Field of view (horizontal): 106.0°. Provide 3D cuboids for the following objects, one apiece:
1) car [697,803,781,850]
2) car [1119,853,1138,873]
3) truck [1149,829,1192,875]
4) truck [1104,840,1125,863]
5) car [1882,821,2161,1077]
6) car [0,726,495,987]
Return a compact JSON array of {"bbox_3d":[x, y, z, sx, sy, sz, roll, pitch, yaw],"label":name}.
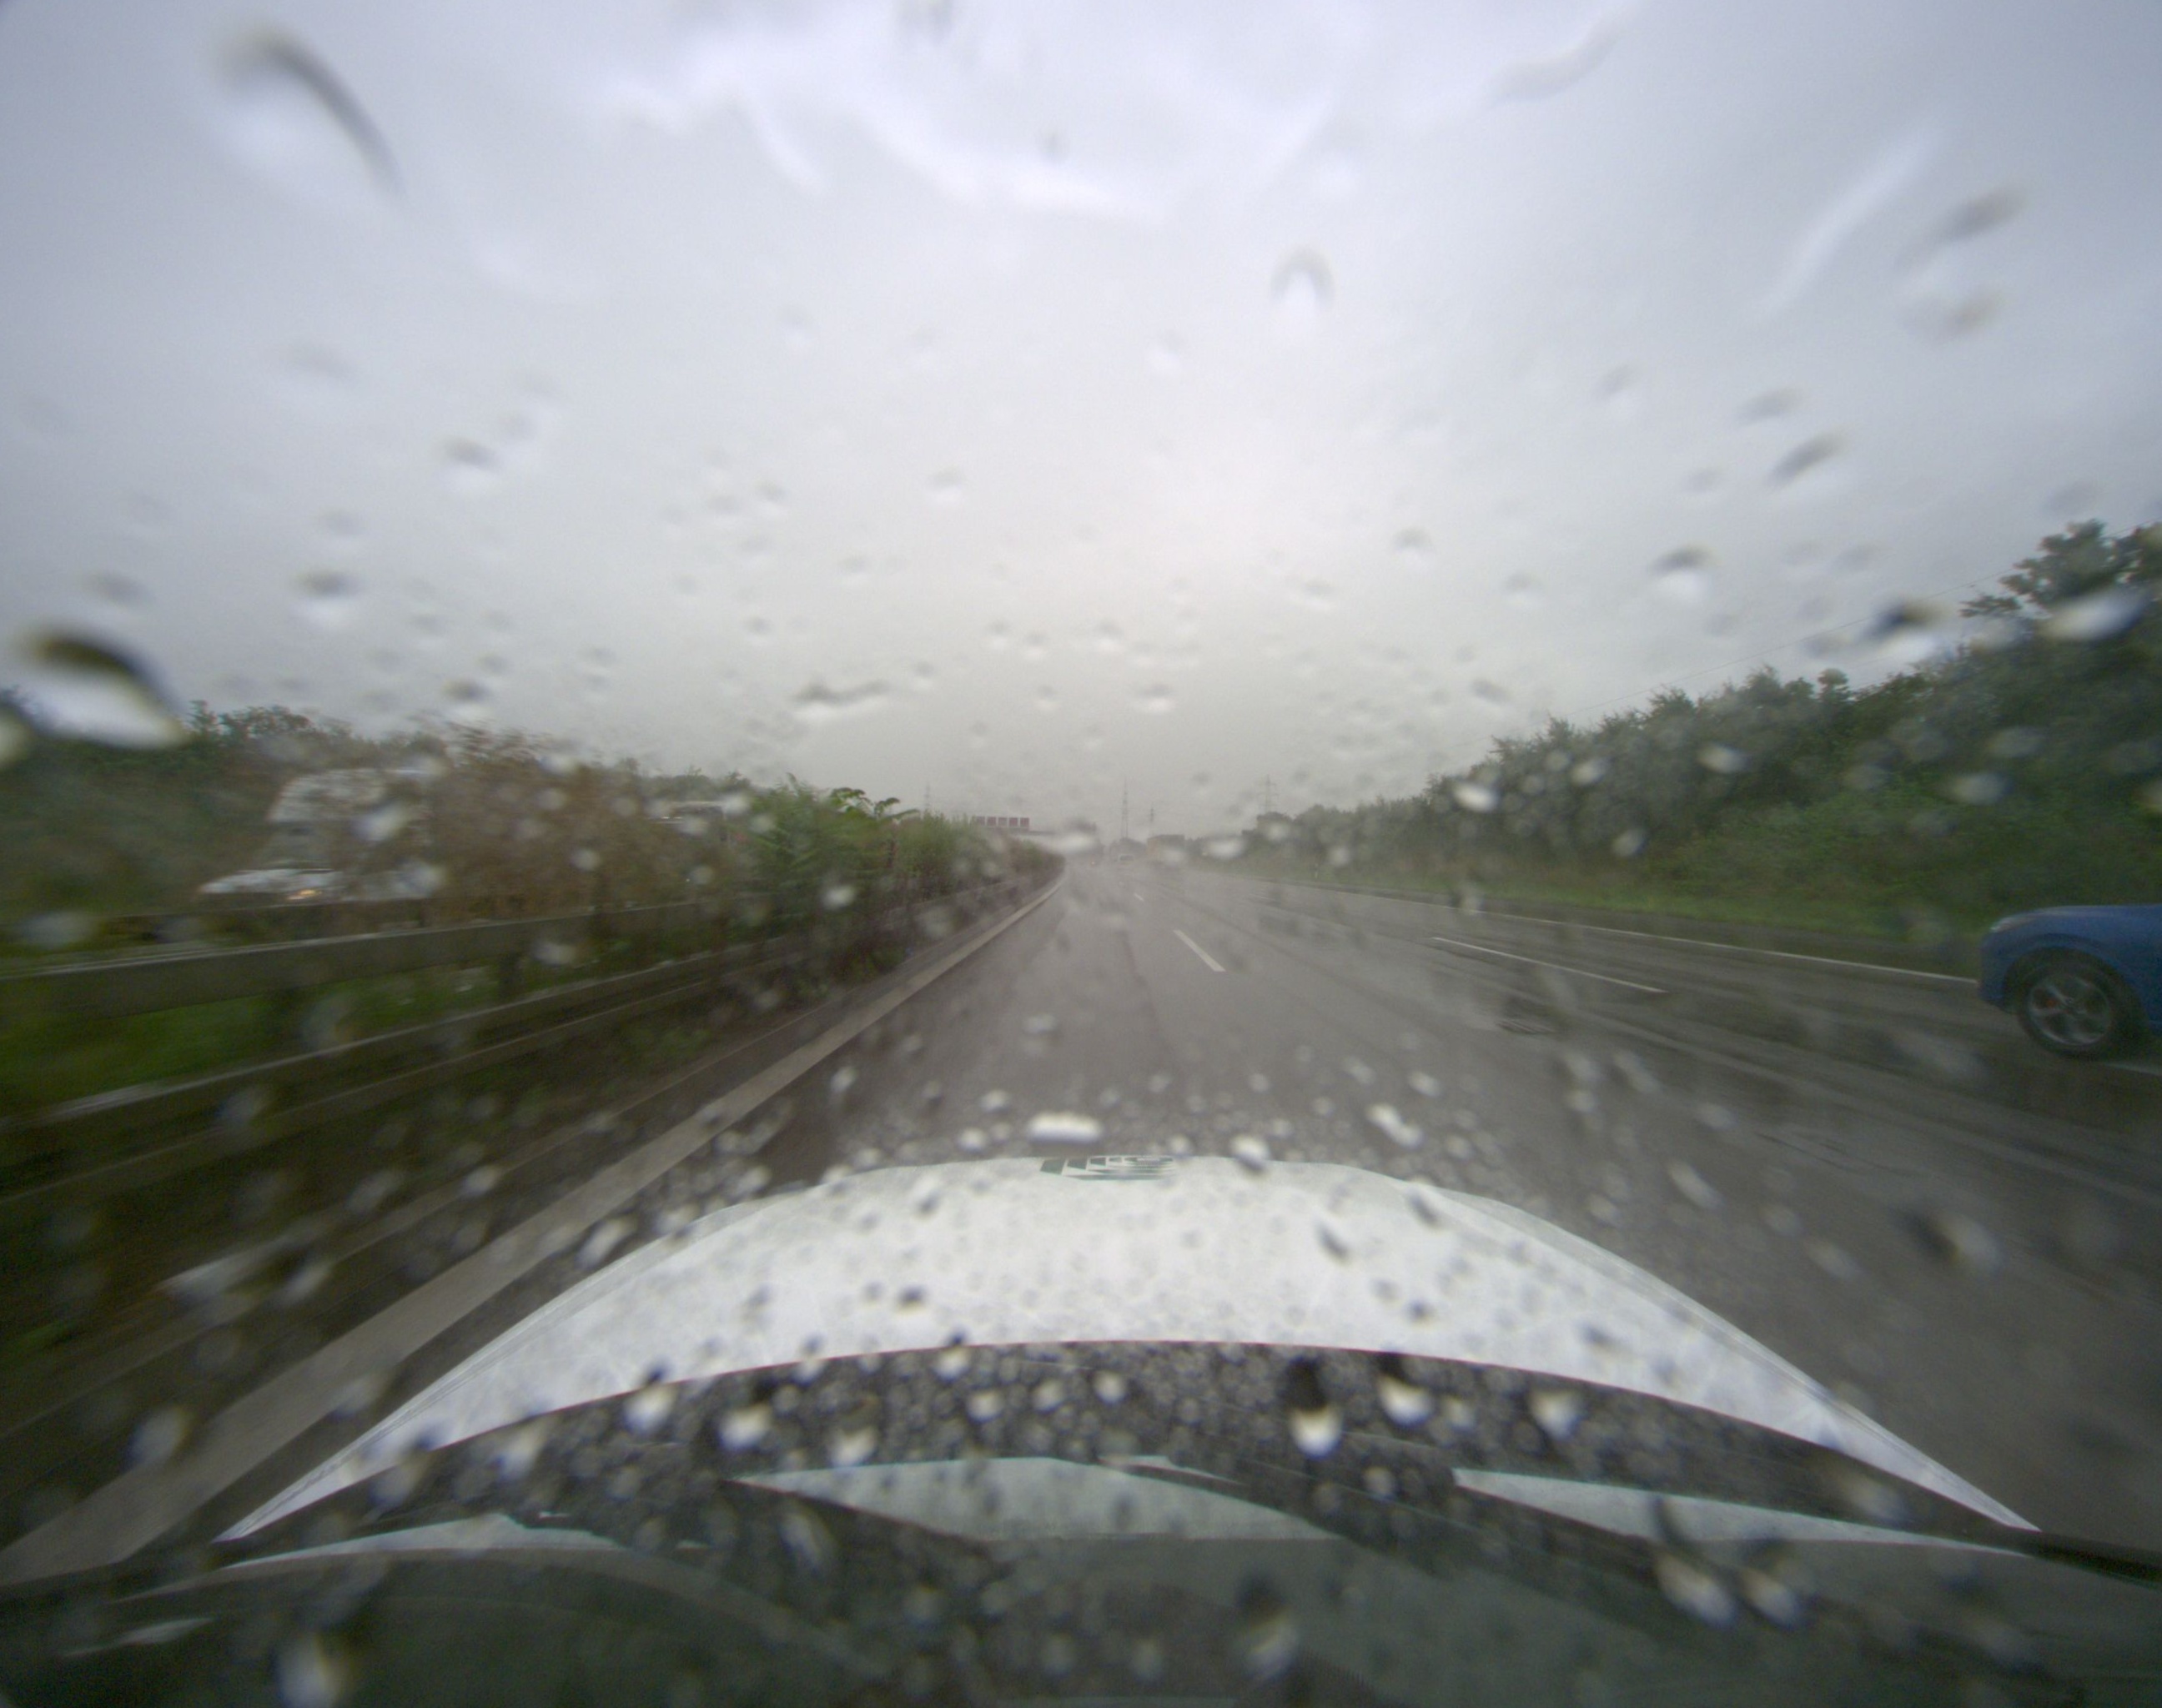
[{"bbox_3d":[-15.770,-1.219,37.744,1.985,2.013,4.004,-1,0,3],"label":"car"},{"bbox_3d":[4.940,0.940,84.505,1.985,2.013,4.004,-1,0,4],"label":"car"},{"bbox_3d":[9.884,-0.138,91.651,4.170,4.630,16.123,-1,-1,4],"label":"truck"},{"bbox_3d":[6.582,-0.494,160.830,3.226,4.311,8.824,-1,0,-4],"label":"truck"},{"bbox_3d":[7.803,0.584,4.498,1.985,1.619,4.996,-1,-1,3],"label":"car"},{"bbox_3d":[-13.008,0.054,12.732,2.552,2.960,6.937,-1,0,1],"label":"car"}]
